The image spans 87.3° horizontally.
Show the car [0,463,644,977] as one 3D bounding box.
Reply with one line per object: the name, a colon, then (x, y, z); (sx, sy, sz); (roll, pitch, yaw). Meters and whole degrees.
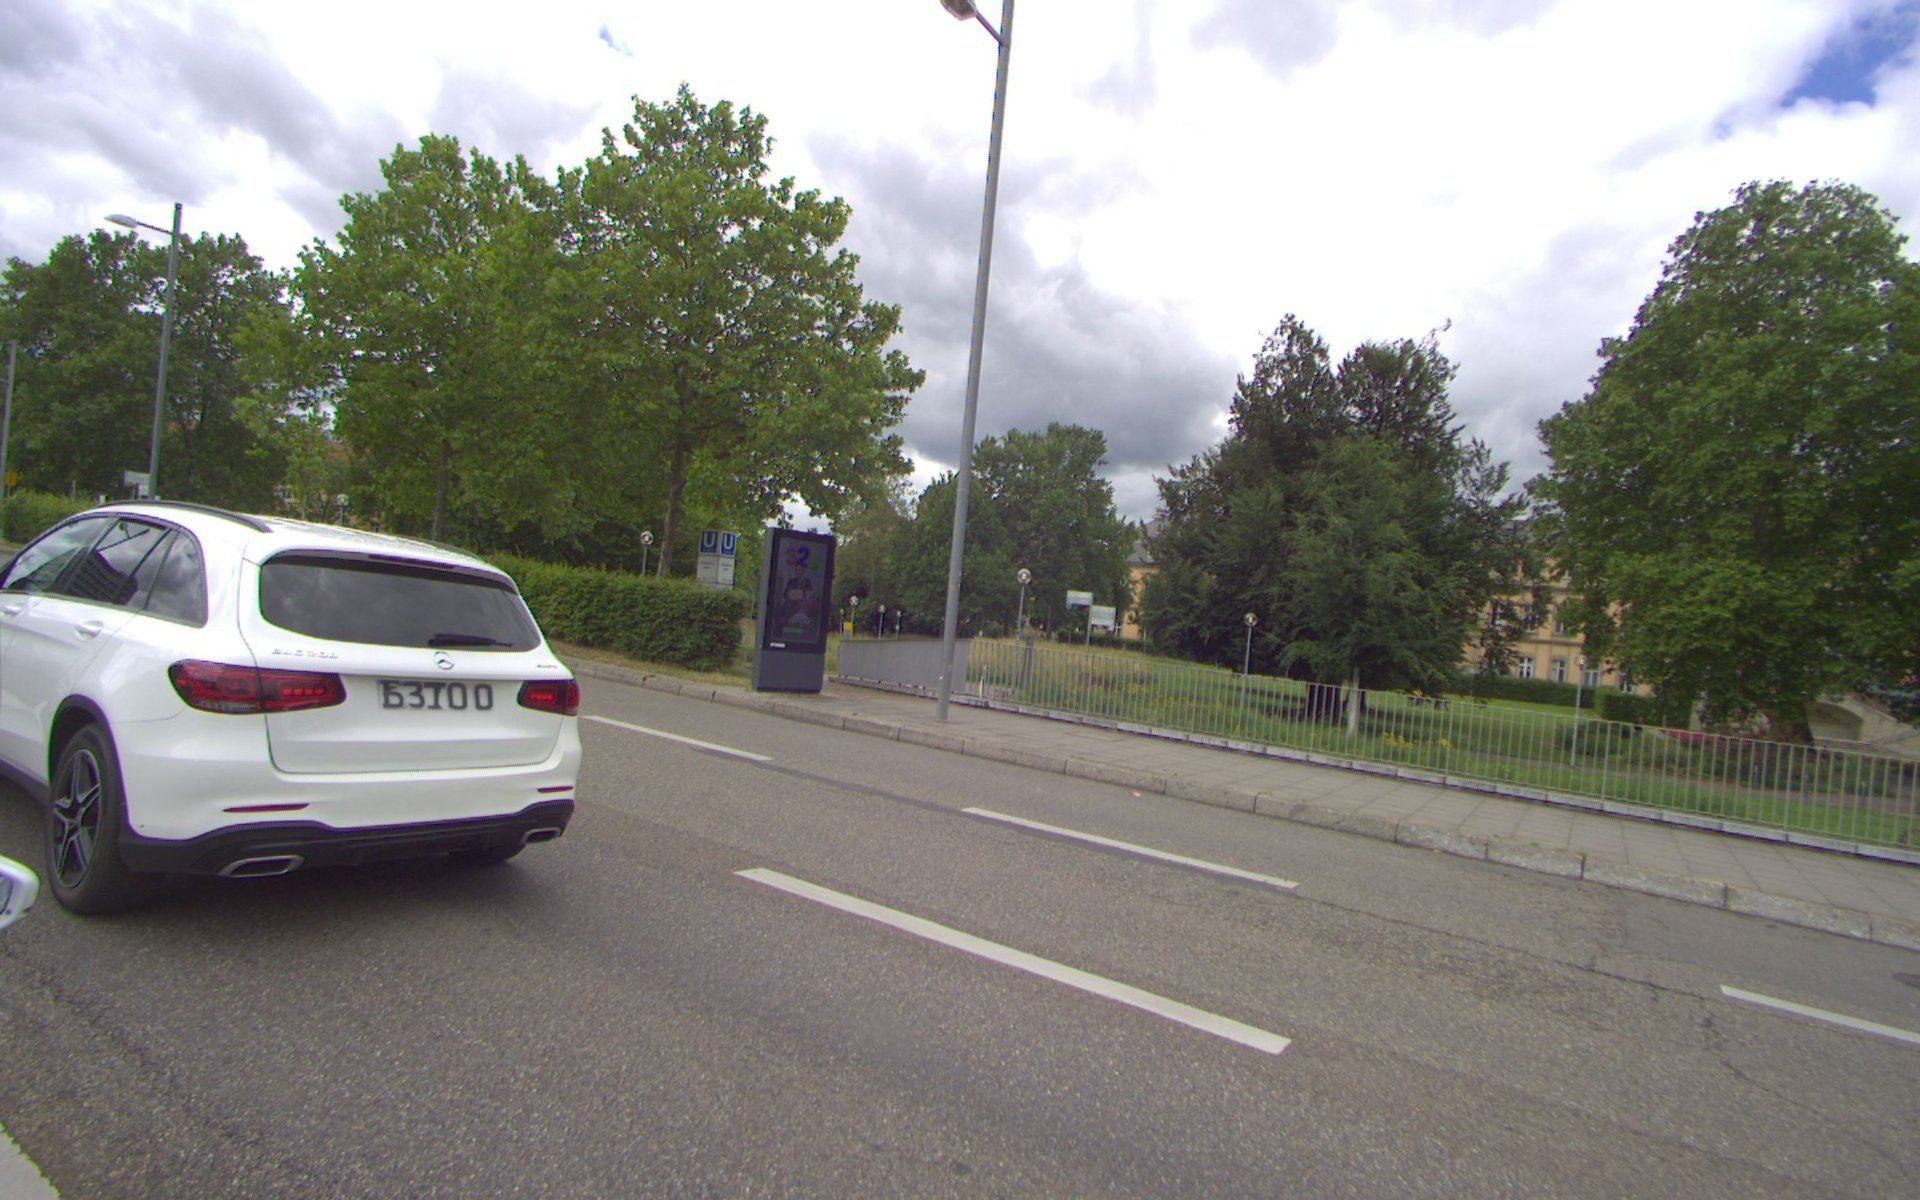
car: (-3.902, 0.302, 5.287); (4.308, 1.666, 1.821); (7, -1, 33)
